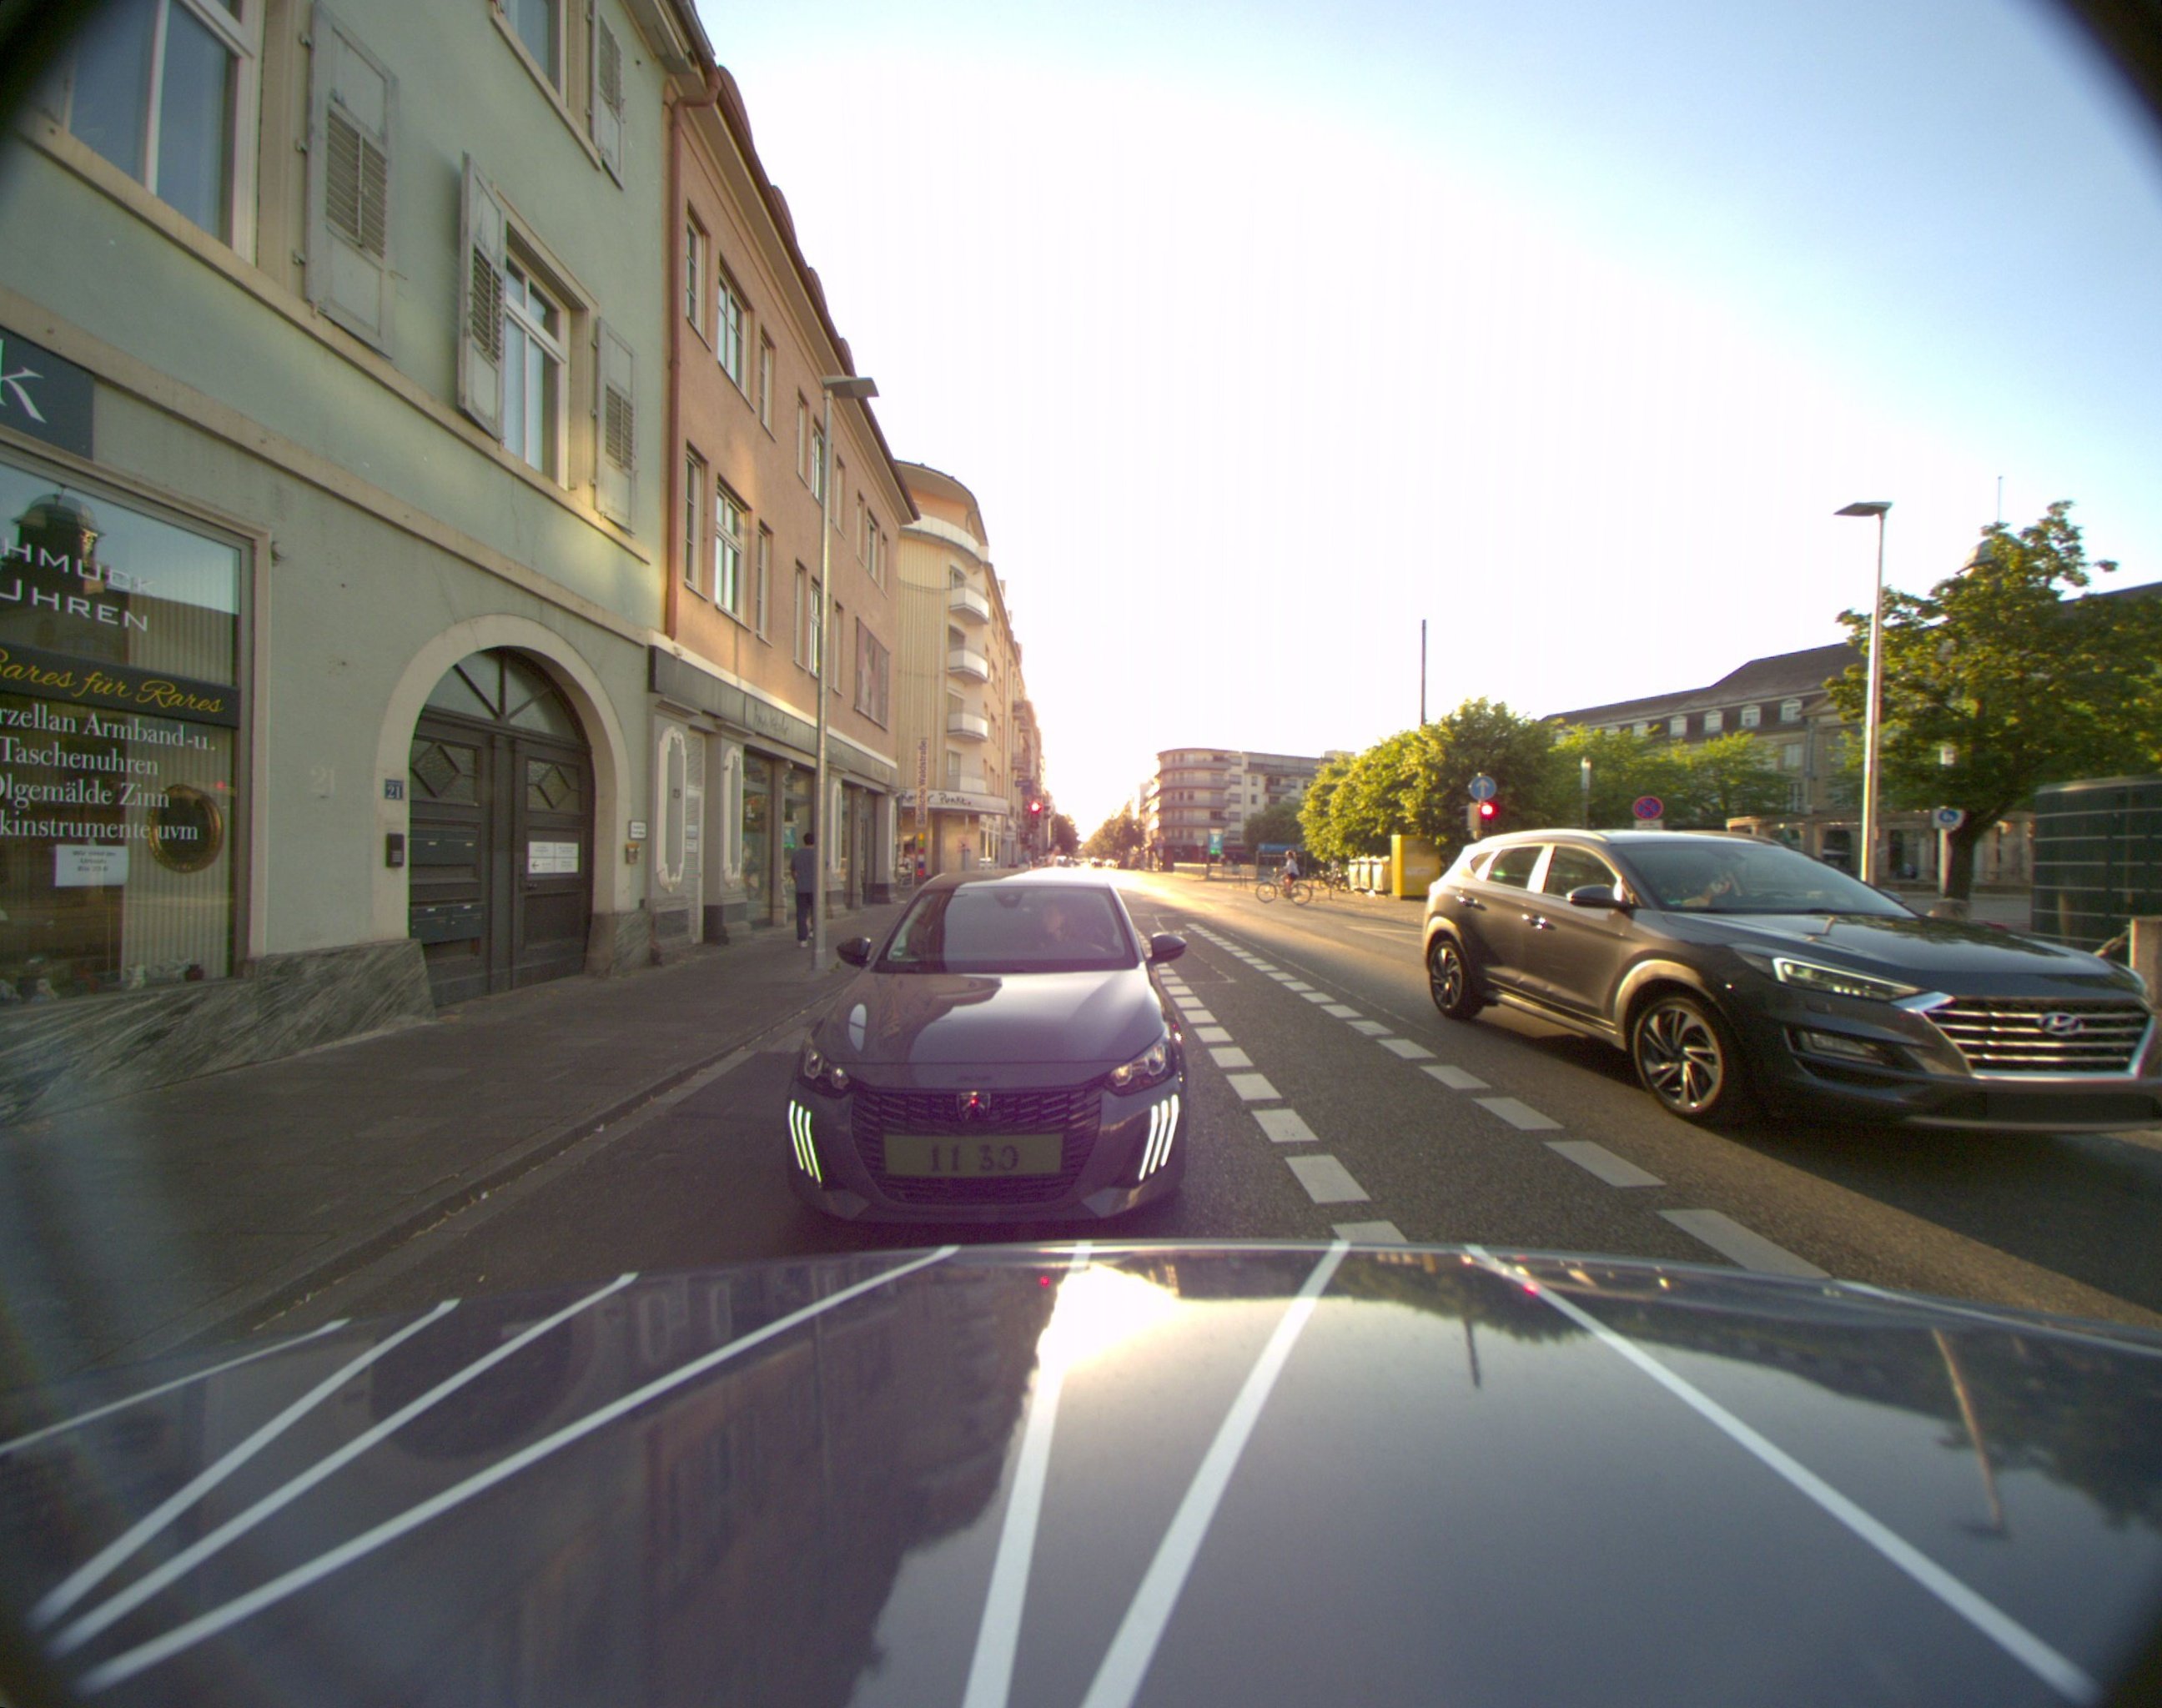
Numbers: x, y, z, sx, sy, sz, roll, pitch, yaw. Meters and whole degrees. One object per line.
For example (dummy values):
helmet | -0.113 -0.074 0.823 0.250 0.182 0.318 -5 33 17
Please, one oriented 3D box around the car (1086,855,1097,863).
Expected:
car | 2.239 1.045 164.205 1.878 1.621 4.177 3 -1 -5

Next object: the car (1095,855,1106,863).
car | 3.788 0.896 148.974 1.790 1.458 3.956 2 0 -1

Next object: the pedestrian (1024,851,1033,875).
pedestrian | -4.490 0.778 64.689 0.673 2.002 0.851 0 1 0

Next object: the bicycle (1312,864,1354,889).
bicycle | 13.154 1.174 39.711 2.031 1.245 0.548 -1 0 -4

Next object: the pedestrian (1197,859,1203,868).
pedestrian | 17.431 1.448 111.246 0.732 1.314 0.889 0 0 -1

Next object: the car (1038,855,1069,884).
car | -1.633 0.852 44.770 1.702 1.607 4.682 0 0 -2

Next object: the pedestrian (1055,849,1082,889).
pedestrian | -0.514 0.611 31.438 0.789 1.643 0.782 1 1 43

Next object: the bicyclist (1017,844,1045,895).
bicyclist | -1.813 0.548 27.420 0.835 1.815 0.831 1 0 8

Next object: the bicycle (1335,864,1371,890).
bicycle | 13.199 1.116 36.843 1.590 1.245 0.445 -1 0 -2

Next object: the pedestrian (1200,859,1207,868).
pedestrian | 17.996 1.448 111.726 0.689 1.314 0.819 0 0 -24

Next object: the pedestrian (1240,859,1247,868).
pedestrian | 24.205 1.474 112.946 0.731 1.314 0.891 1 0 39

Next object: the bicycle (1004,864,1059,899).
bicycle | -1.780 0.975 27.398 1.823 1.179 0.794 1 0 9

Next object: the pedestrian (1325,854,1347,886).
pedestrian | 14.540 0.893 43.280 0.950 1.806 0.828 1 1 39

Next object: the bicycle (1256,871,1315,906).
bicycle | 7.033 1.169 26.152 1.917 1.111 0.706 1 0 17

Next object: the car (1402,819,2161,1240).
car | 4.133 0.735 5.305 1.877 1.679 4.450 2 0 0

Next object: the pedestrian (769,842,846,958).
pedestrian | -3.994 0.649 11.159 0.825 1.632 0.871 1 0 -2

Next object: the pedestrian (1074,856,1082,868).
pedestrian | -0.335 0.991 93.126 0.678 1.508 0.676 1 0 -42

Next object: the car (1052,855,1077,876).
car | -1.301 0.898 62.222 1.877 1.664 4.430 0 0 0

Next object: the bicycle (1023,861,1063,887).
bicycle | -1.807 0.951 35.853 1.788 1.166 0.621 2 0 -11

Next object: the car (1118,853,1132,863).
car | 7.835 0.708 135.663 1.999 1.805 3.999 1 0 -2

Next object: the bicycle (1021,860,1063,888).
bicycle | -1.806 0.932 35.106 1.849 1.232 0.639 1 0 -5

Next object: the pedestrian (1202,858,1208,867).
pedestrian | 18.187 1.231 111.332 0.732 1.314 0.888 0 0 -2

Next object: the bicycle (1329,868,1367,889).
bicycle | 13.104 1.207 37.368 1.678 0.973 0.548 -1 0 -4

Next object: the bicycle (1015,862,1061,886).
bicycle | -2.122 0.986 37.437 2.176 1.069 0.805 2 0 -7

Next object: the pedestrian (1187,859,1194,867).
pedestrian | 15.812 1.289 109.821 0.887 1.185 0.733 0 0 9

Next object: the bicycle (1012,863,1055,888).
bicycle | -2.136 0.982 34.168 1.788 1.057 0.718 2 0 -11

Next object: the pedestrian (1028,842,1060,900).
pedestrian | -1.220 0.561 25.170 0.939 1.886 0.826 1 0 6

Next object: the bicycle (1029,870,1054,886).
bicycle | -1.751 1.066 33.483 1.008 0.677 1.049 1 0 -9

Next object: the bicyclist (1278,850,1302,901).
bicyclist | 7.172 0.738 26.092 0.777 1.714 0.856 1 0 15

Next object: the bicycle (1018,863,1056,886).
bicycle | -2.218 1.031 38.437 1.851 1.117 0.594 2 1 -11

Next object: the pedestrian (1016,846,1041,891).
pedestrian | -2.143 0.591 30.956 0.826 1.806 0.870 1 0 -17

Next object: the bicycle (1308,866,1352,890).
bicycle | 12.464 1.196 38.009 2.031 1.128 0.548 -1 0 -4

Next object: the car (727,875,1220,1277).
car | -0.412 0.926 5.177 1.908 1.438 4.449 0 0 0

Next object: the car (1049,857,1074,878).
car | -1.408 0.981 56.670 1.738 1.448 4.610 0 0 0

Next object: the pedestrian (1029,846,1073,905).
pedestrian | -0.925 0.649 23.665 1.098 1.764 0.827 1 0 20

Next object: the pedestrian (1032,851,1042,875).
pedestrian | -3.775 0.758 64.913 0.763 2.002 0.851 0 0 0
